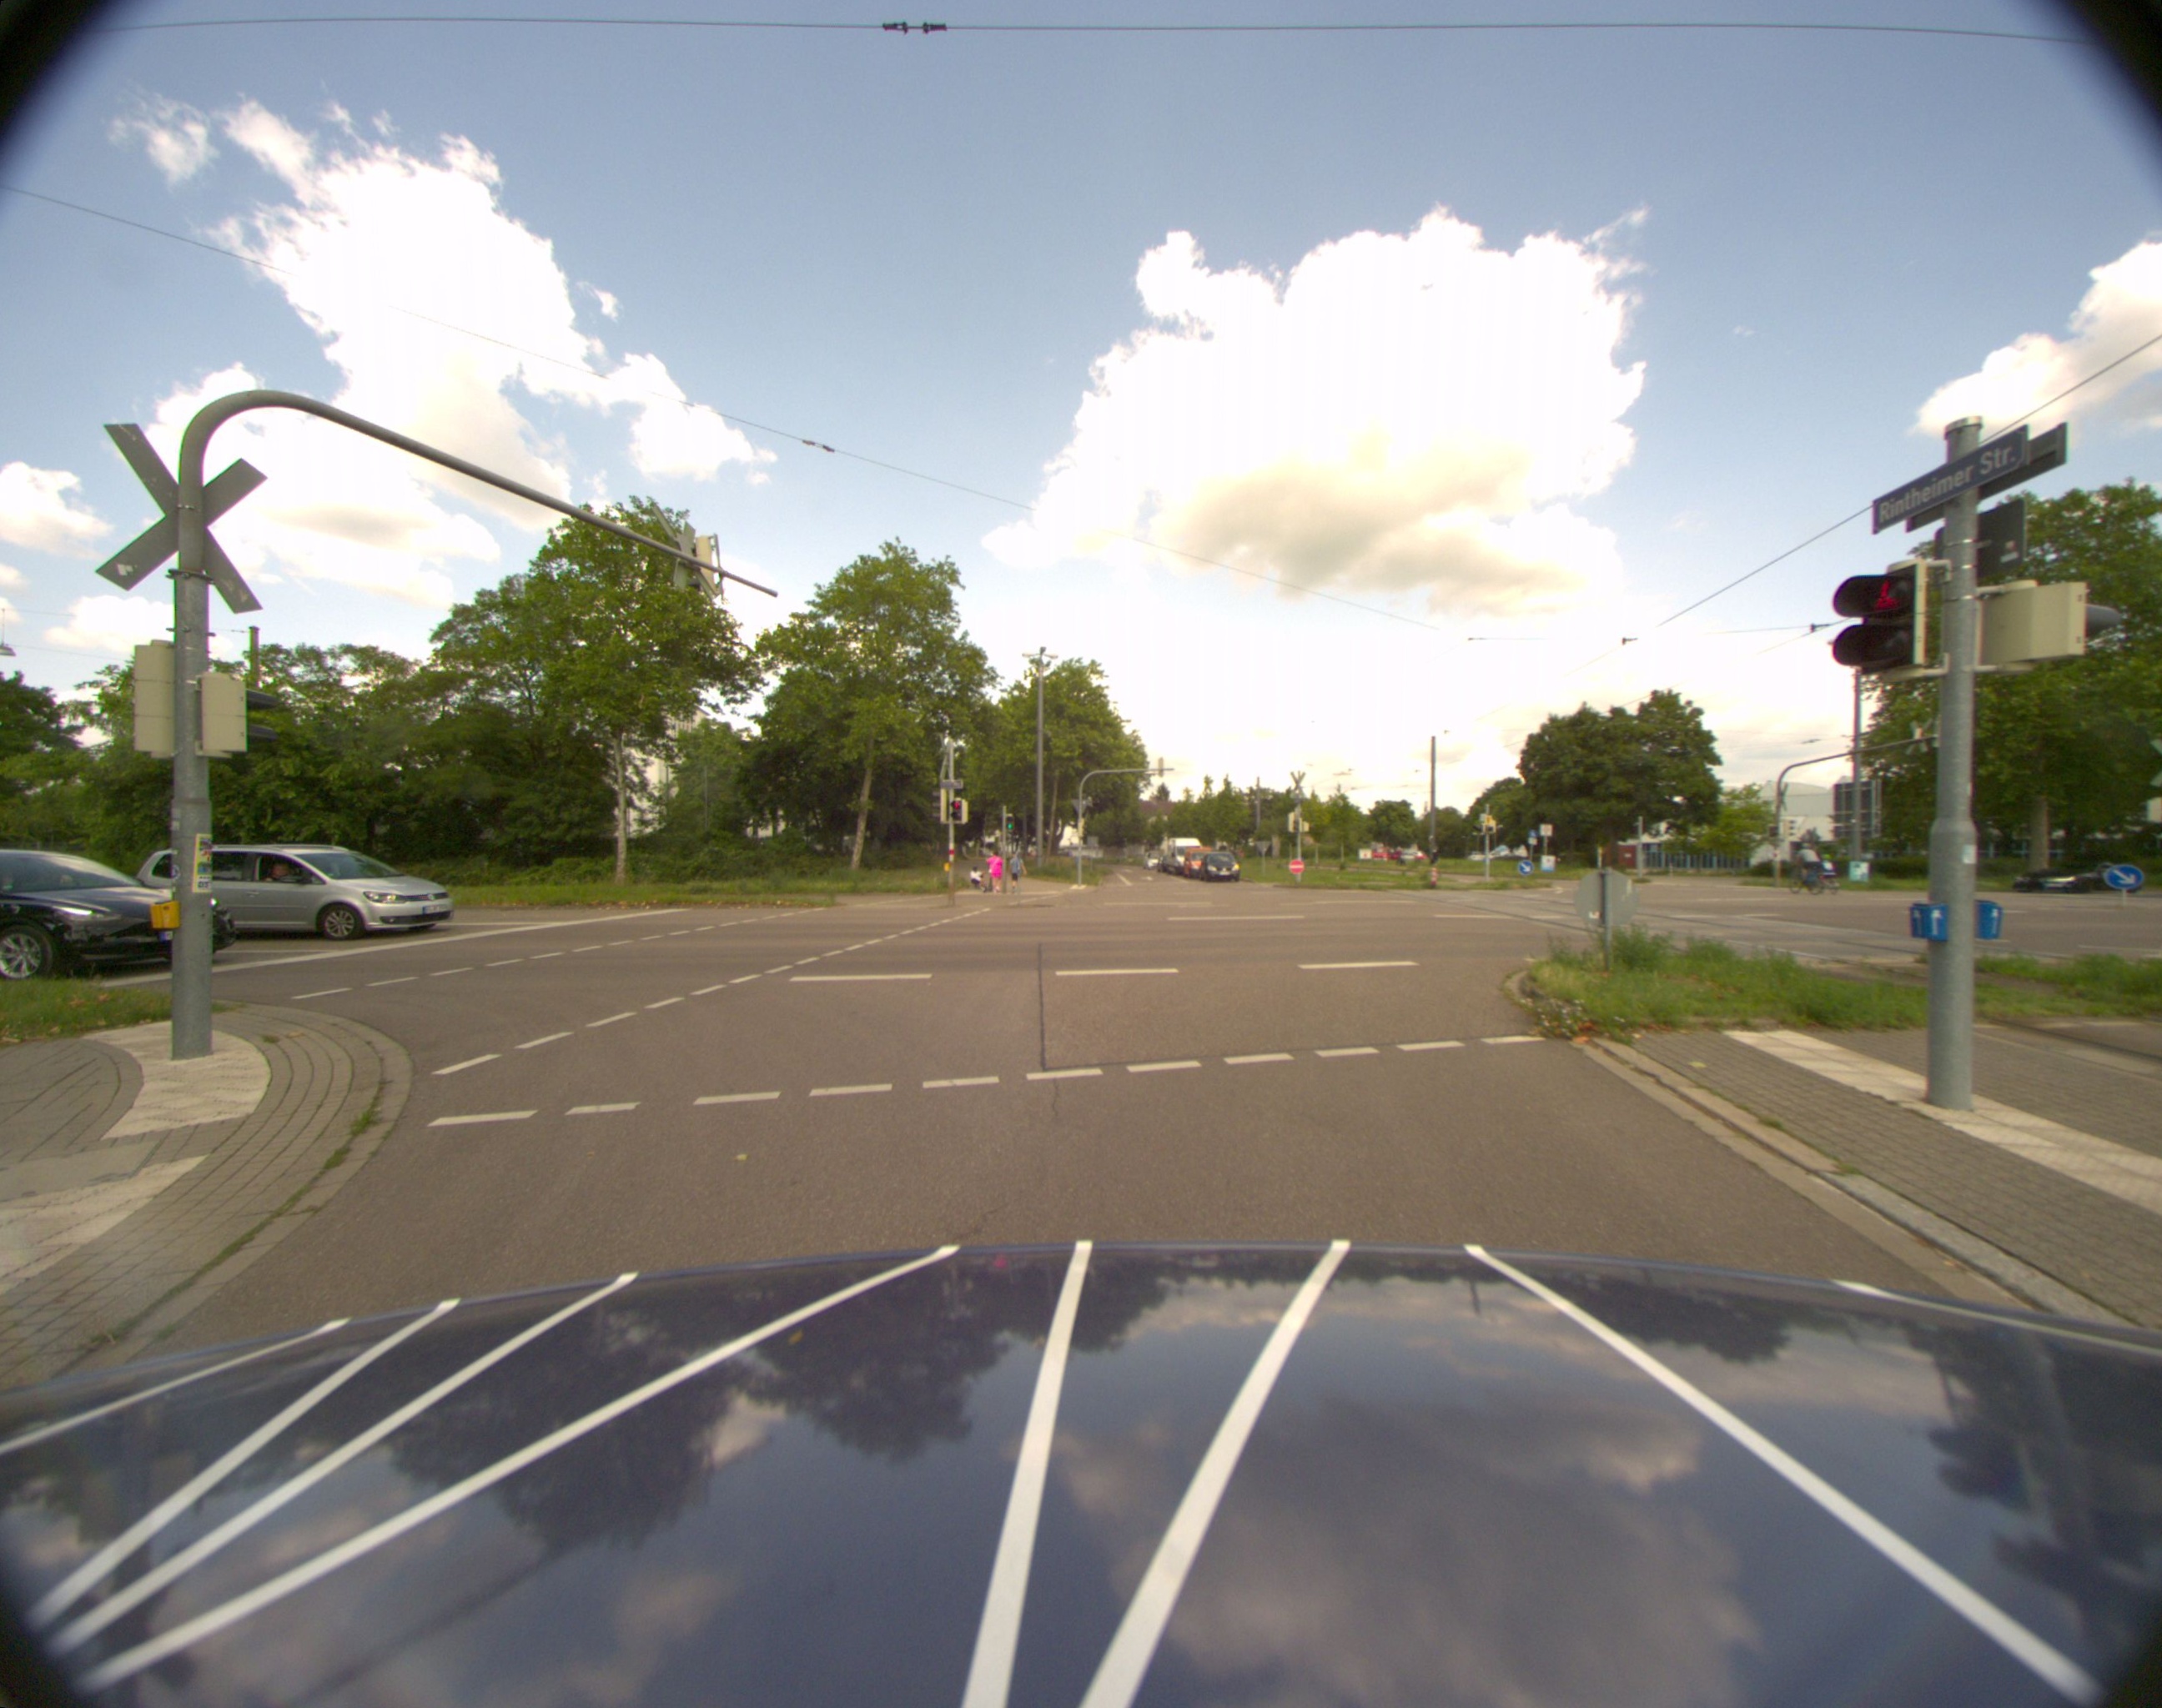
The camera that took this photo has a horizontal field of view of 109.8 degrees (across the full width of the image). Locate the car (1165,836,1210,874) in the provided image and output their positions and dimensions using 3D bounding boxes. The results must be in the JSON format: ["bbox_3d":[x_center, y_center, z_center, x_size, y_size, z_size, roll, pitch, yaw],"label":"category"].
[{"bbox_3d":[7.424,0.032,53.327,2.239,2.492,5.724,-1,1,-1],"label":"car"}]

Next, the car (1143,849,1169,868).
[{"bbox_3d":[6.763,0.393,68.832,1.867,1.635,4.233,-1,1,-1],"label":"car"}]

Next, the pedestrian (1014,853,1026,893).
[{"bbox_3d":[-2.314,0.728,28.749,0.419,1.499,0.451,0,1,-2],"label":"pedestrian"}]

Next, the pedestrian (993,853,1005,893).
[{"bbox_3d":[-3.103,0.720,28.793,0.419,1.499,0.393,0,1,-2],"label":"pedestrian"}]

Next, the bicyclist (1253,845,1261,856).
[{"bbox_3d":[24.330,-0.517,105.152,0.805,1.461,0.831,0,-1,-11],"label":"bicyclist"}]

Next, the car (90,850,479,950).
[{"bbox_3d":[-13.913,0.751,13.542,4.684,1.601,1.999,0,2,-1],"label":"car"}]

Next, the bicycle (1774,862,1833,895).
[{"bbox_3d":[25.600,0.852,26.958,0.646,1.073,1.806,0,1,12],"label":"bicycle"}]

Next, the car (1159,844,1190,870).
[{"bbox_3d":[7.241,0.209,59.063,1.795,1.924,4.368,-1,1,-1],"label":"car"}]

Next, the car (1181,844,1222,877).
[{"bbox_3d":[7.364,0.371,46.787,1.795,1.924,4.368,-1,1,0],"label":"car"}]

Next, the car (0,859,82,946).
[{"bbox_3d":[-20.826,0.850,12.964,4.746,1.461,1.999,0,2,-1],"label":"car"}]

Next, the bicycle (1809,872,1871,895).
[{"bbox_3d":[26.822,1.039,26.885,0.646,0.713,1.806,0,1,12],"label":"bicycle"}]

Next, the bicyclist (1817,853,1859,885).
[{"bbox_3d":[26.836,0.530,26.944,0.640,1.106,0.929,0,1,11],"label":"bicyclist"}]

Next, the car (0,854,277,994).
[{"bbox_3d":[-13.874,0.819,9.850,4.684,1.601,1.999,0,2,-1],"label":"car"}]

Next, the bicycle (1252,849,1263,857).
[{"bbox_3d":[24.370,-0.106,104.989,0.805,1.053,2.067,0,-1,-11],"label":"bicycle"}]

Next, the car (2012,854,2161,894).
[{"bbox_3d":[40.036,0.779,30.286,3.855,1.515,1.699,0,1,-2],"label":"car"}]

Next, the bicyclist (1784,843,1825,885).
[{"bbox_3d":[25.591,0.343,26.889,0.624,1.449,0.929,0,1,12],"label":"bicyclist"}]

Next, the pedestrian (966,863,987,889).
[{"bbox_3d":[-4.165,0.867,30.215,0.722,1.028,0.901,0,1,-1],"label":"pedestrian"}]

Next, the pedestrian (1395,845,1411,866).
[{"bbox_3d":[27.648,0.127,65.286,0.908,1.857,1.002,0,1,-3],"label":"pedestrian"}]

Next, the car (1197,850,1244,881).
[{"bbox_3d":[7.407,0.584,40.690,1.795,1.530,4.000,-1,1,1],"label":"car"}]

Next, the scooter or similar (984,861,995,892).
[{"bbox_3d":[-3.495,0.844,29.017,0.395,1.154,1.116,0,1,-5],"label":"scooter or similar"}]
